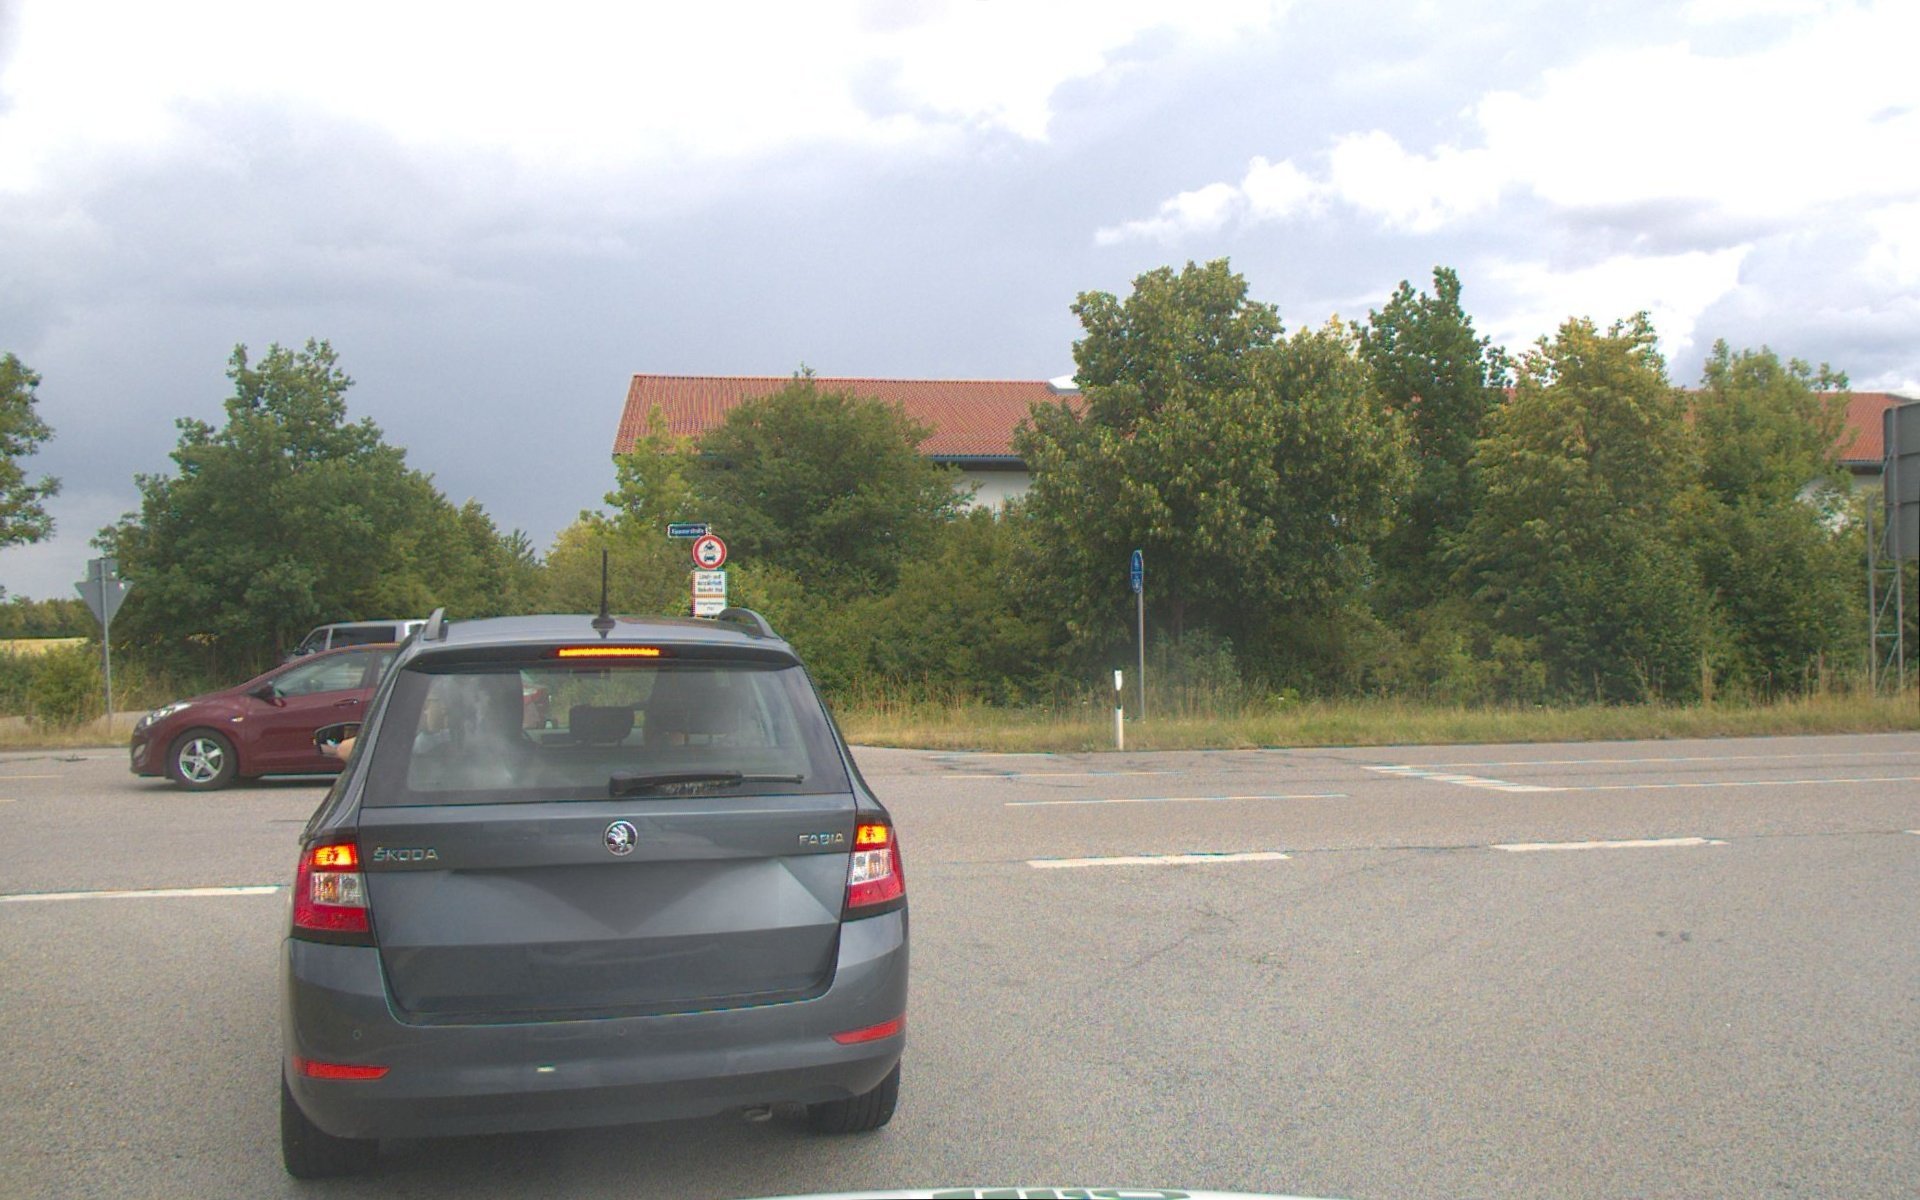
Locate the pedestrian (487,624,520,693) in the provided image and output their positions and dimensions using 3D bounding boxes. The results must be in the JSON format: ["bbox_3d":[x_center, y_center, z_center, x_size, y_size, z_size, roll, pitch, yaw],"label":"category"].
[{"bbox_3d":[-11.555,1.470,41.866,0.571,1.712,0.566,-1,0,17],"label":"pedestrian"}]

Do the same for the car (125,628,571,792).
[{"bbox_3d":[-6.267,1.097,17.429,4.073,1.490,1.995,-1,-1,-11],"label":"car"}]

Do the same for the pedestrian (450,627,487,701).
[{"bbox_3d":[-11.947,1.557,40.212,0.518,1.756,0.640,-1,0,29],"label":"pedestrian"}]

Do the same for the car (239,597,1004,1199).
[{"bbox_3d":[-1.242,0.758,5.395,1.650,1.488,3.689,0,0,-18],"label":"car"}]

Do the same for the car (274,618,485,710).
[{"bbox_3d":[-14.249,1.536,40.559,4.807,2.049,2.338,-1,1,31],"label":"car"}]
